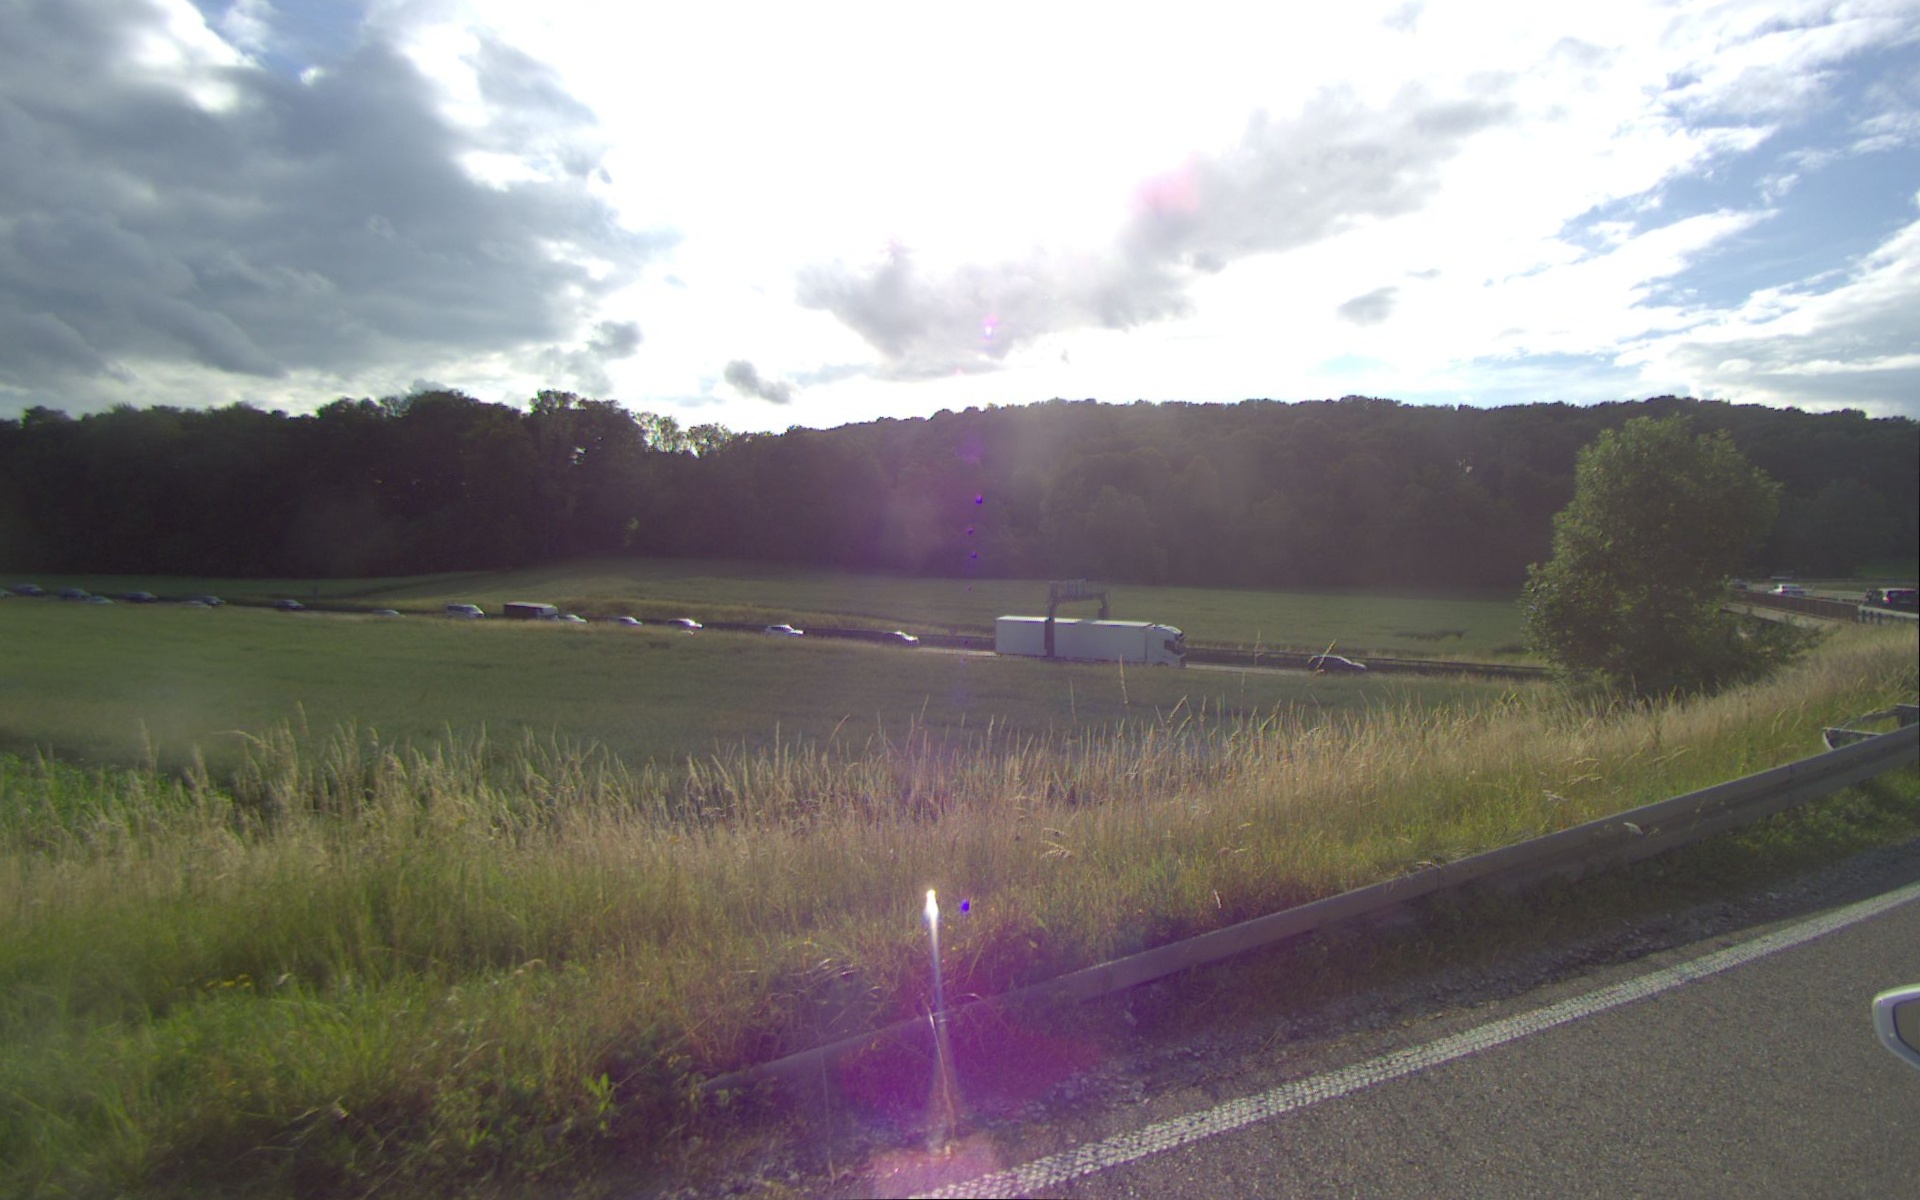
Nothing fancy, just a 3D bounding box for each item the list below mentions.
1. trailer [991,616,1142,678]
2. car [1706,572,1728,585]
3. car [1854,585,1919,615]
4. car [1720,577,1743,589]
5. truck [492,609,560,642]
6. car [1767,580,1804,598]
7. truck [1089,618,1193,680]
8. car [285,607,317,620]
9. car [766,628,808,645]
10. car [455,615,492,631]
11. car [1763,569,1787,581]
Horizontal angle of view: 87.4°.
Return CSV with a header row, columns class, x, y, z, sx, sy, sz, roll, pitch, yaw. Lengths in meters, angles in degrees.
class,x,y,z,sx,sy,sz,roll,pitch,yaw
trailer,8.959,3.909,85.466,12.491,4.530,3.027,1,5,27
car,104.856,-2.986,139.080,1.971,1.701,4.154,5,3,42
car,53.454,-0.036,57.818,1.832,1.590,3.996,2,2,25
car,79.502,-1.746,103.531,1.450,1.244,3.292,2,2,30
truck,-48.779,2.852,112.832,8.341,3.451,2.120,-2,0,28
car,67.772,-0.893,82.492,1.657,1.395,3.992,2,2,30
truck,14.845,3.925,82.479,7.907,4.530,3.025,1,5,27
car,-90.387,1.825,137.740,3.923,1.608,1.801,2,1,24
car,-18.056,3.826,104.929,3.926,1.672,1.826,-1,1,26
car,-60.493,2.883,124.918,3.923,1.750,1.999,2,-2,24
car,131.150,-4.030,161.646,3.959,1.795,1.981,-1,-1,-34
